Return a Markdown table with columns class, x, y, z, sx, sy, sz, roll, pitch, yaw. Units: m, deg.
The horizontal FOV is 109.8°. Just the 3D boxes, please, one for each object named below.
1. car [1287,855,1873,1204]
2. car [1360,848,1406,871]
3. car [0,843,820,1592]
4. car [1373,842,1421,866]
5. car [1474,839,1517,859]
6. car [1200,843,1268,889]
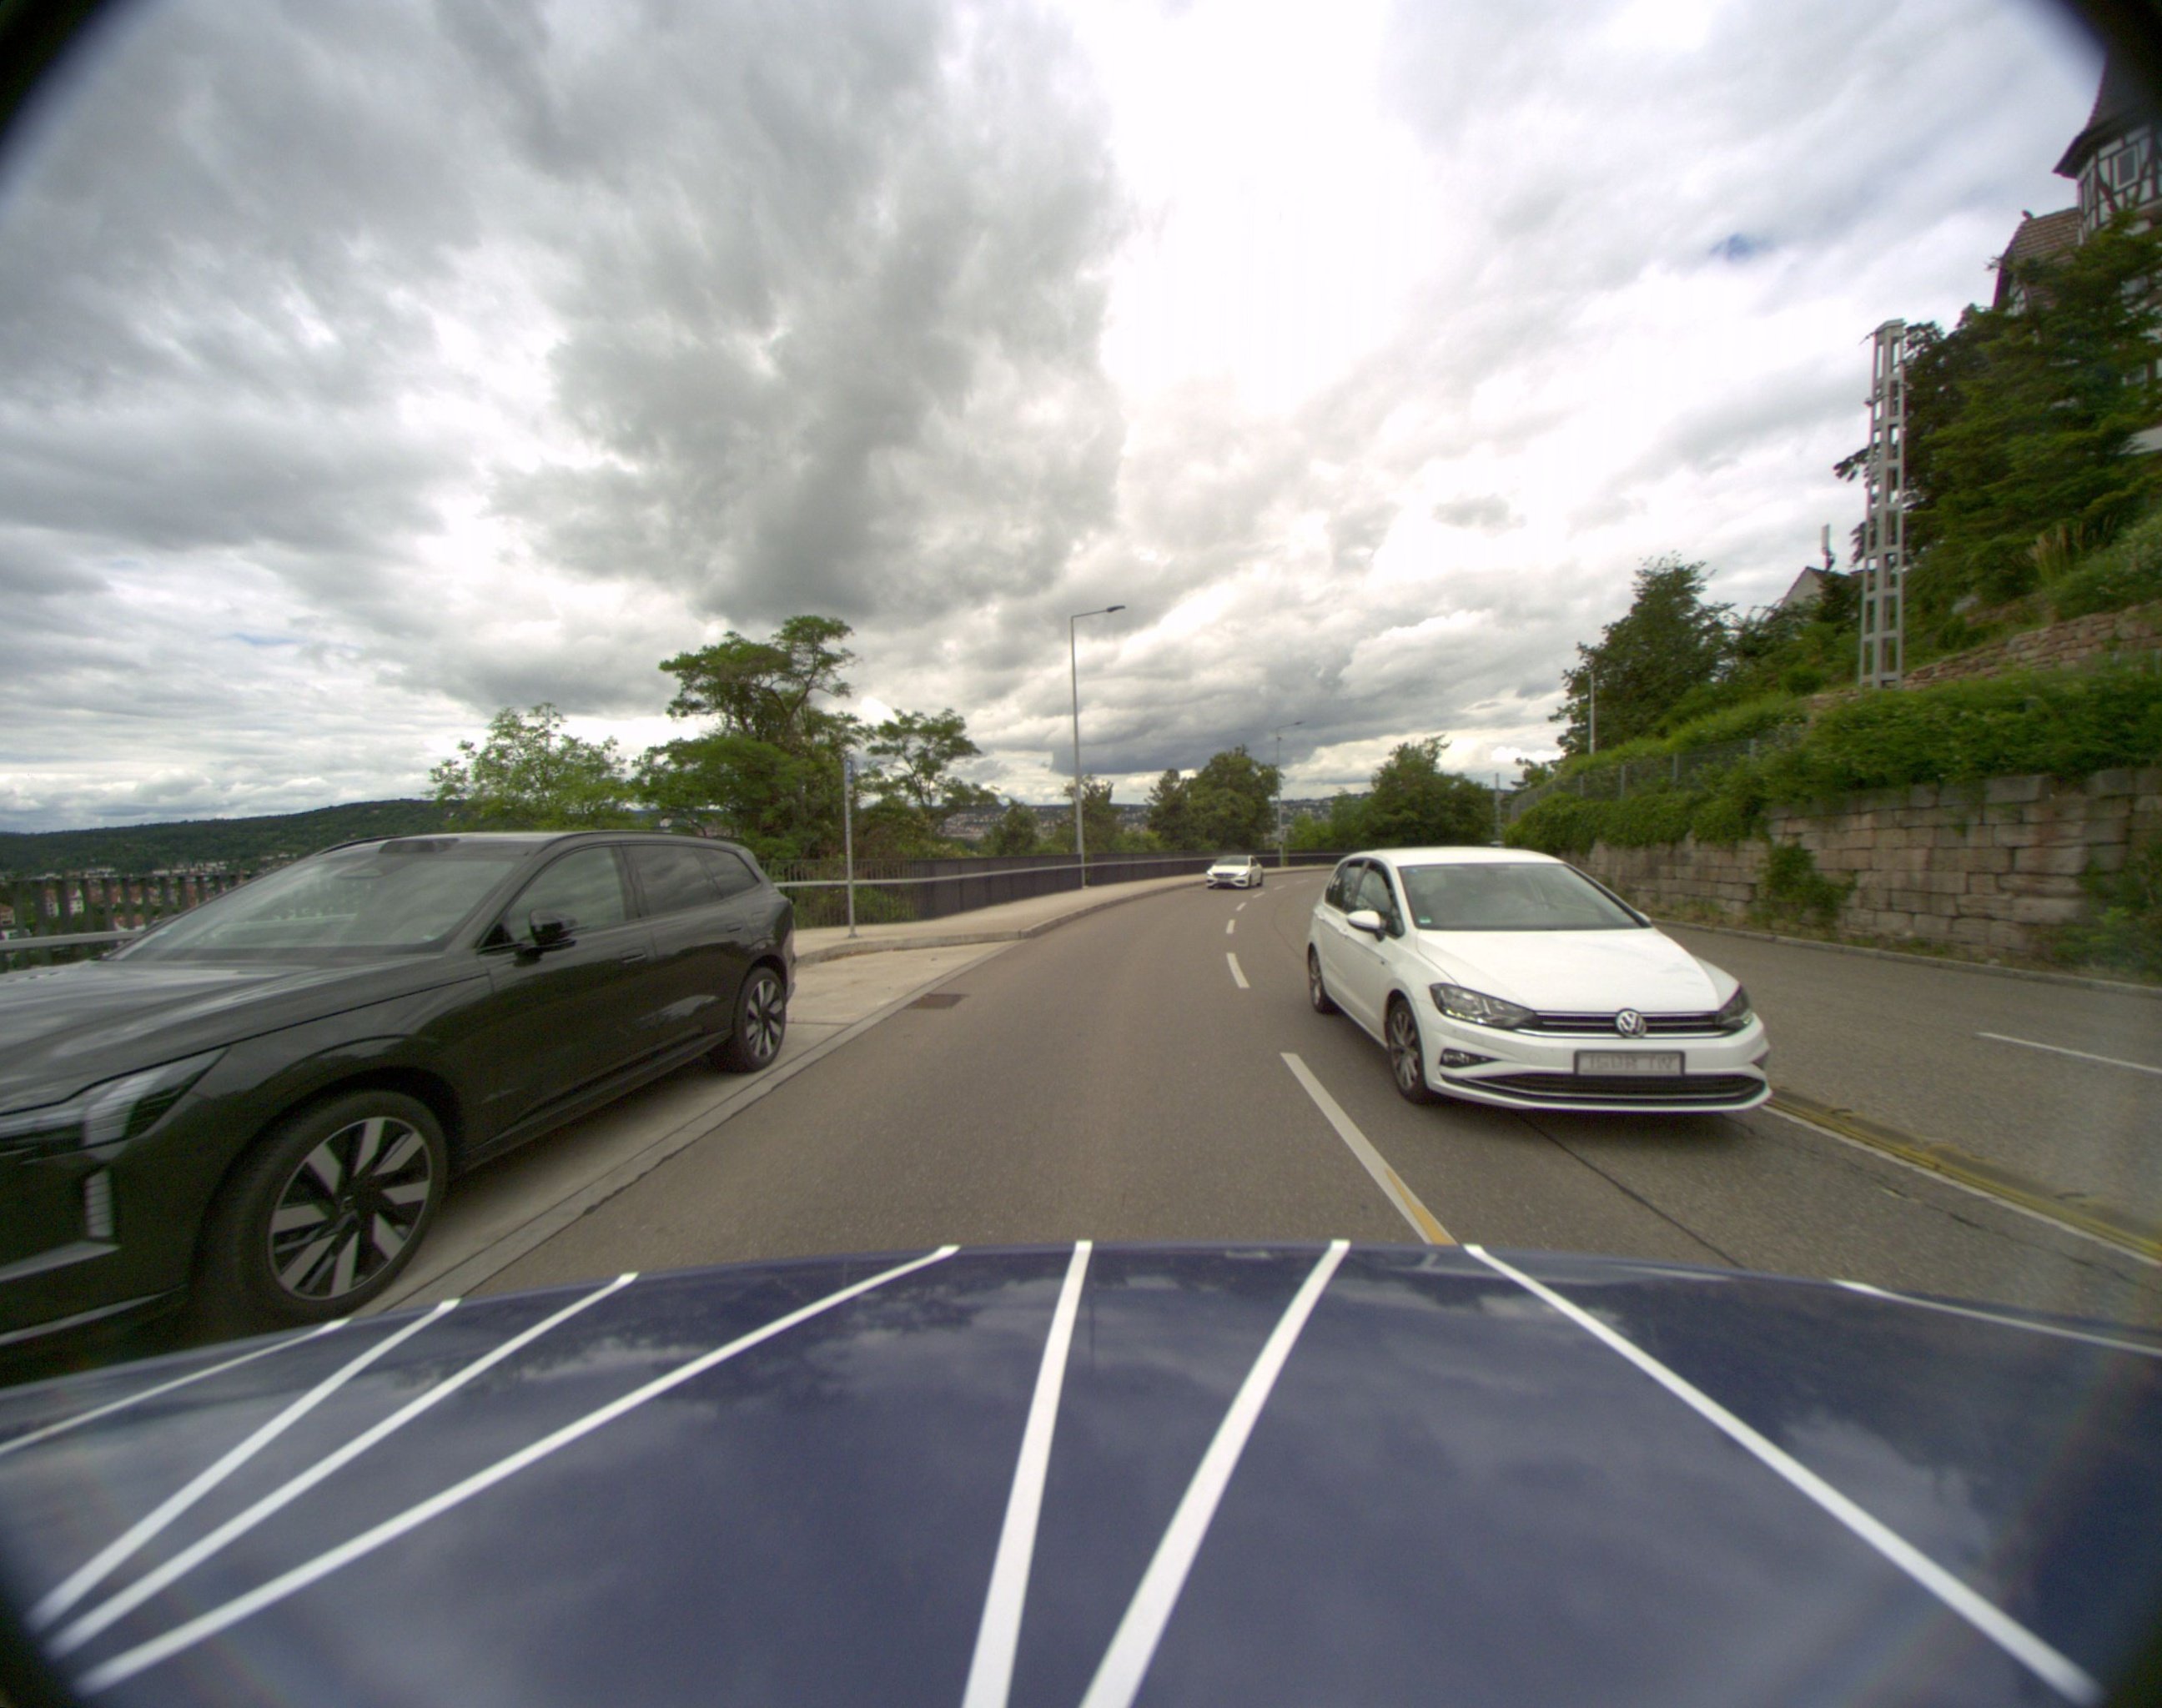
| class | x | y | z | sx | sy | sz | roll | pitch | yaw |
| --- | --- | --- | --- | --- | --- | --- | --- | --- | --- |
| car | 2.877 | 0.810 | 5.694 | 1.825 | 1.571 | 4.357 | -1 | 0 | 5 |
| car | 22.871 | 0.395 | 57.460 | 1.896 | 1.485 | 4.148 | -1 | 3 | 41 |
| car | -3.397 | 0.820 | 4.045 | 1.998 | 1.708 | 5.049 | 0 | 1 | 3 |
| car | 22.149 | -0.055 | 53.183 | 1.919 | 1.485 | 4.149 | 0 | 3 | 40 |
| car | 41.321 | -0.529 | 75.789 | 4.411 | 1.822 | 1.694 | -1 | 5 | -32 |
| car | 6.698 | 0.469 | 32.982 | 1.995 | 1.709 | 4.005 | 1 | 3 | 25 |
